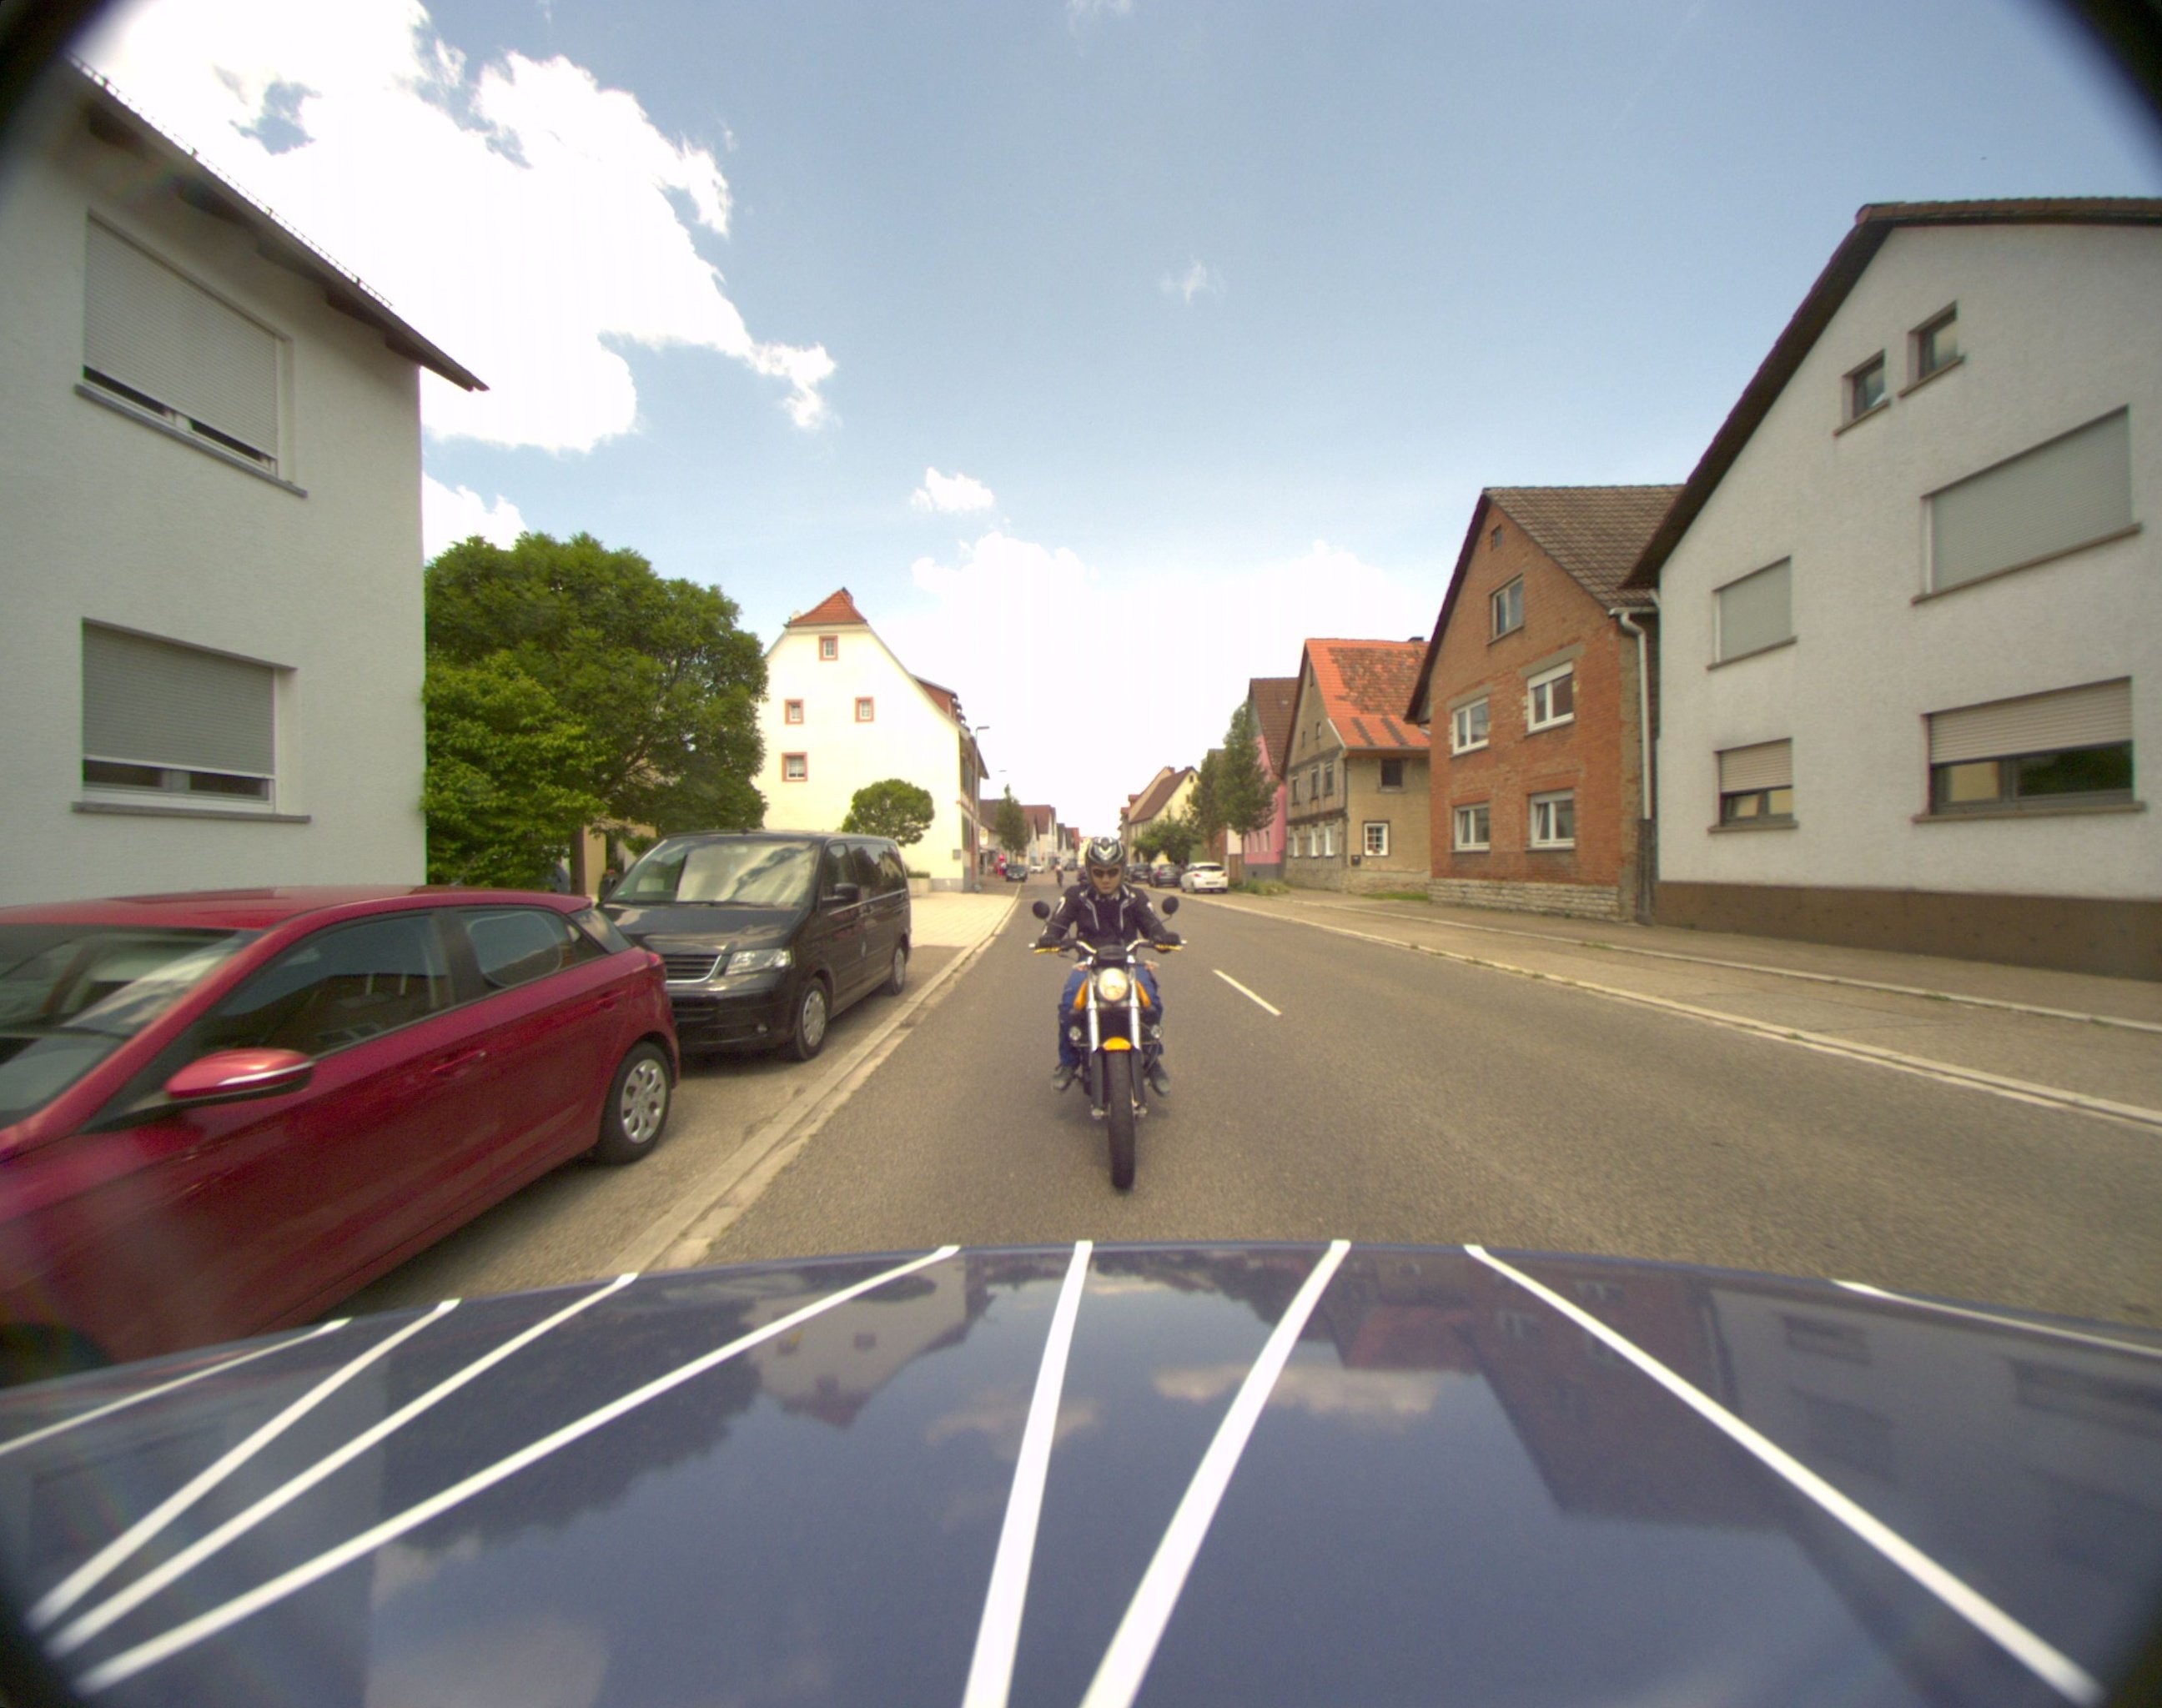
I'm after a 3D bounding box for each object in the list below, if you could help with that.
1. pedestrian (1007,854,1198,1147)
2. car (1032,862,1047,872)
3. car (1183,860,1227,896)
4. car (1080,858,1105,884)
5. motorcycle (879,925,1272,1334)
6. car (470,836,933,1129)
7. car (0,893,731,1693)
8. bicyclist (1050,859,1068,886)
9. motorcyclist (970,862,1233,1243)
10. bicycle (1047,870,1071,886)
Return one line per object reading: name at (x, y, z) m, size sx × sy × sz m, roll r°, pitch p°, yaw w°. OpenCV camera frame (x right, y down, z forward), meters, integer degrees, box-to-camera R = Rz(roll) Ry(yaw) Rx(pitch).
pedestrian at (0.101, 0.804, 4.590) m, size 1.000 × 1.565 × 0.799 m, roll -2°, pitch 1°, yaw -3°
car at (-6.541, 2.077, 120.136) m, size 1.998 × 1.345 × 3.999 m, roll -2°, pitch 1°, yaw 1°
car at (5.960, 1.118, 36.909) m, size 1.683 × 1.521 × 3.499 m, roll -2°, pitch 1°, yaw 3°
car at (0.999, 1.402, 64.192) m, size 1.998 × 2.002 × 4.000 m, roll -2°, pitch 1°, yaw 2°
motorcycle at (0.146, 1.063, 3.789) m, size 0.983 × 1.233 × 2.107 m, roll -3°, pitch -1°, yaw 29°
car at (-3.050, 0.835, 7.718) m, size 1.930 × 1.904 × 5.245 m, roll -2°, pitch 1°, yaw 1°
car at (-3.133, 0.998, 2.700) m, size 1.743 × 1.495 × 4.558 m, roll -1°, pitch 0°, yaw -2°
bicyclist at (-1.398, 1.216, 48.971) m, size 0.908 × 1.679 × 0.762 m, roll -2°, pitch 1°, yaw 18°
motorcyclist at (0.125, 0.862, 3.804) m, size 0.998 × 1.591 × 0.801 m, roll -2°, pitch 1°, yaw 29°
bicycle at (-1.381, 1.548, 48.844) m, size 0.932 × 1.005 × 1.927 m, roll -2°, pitch -1°, yaw 18°
